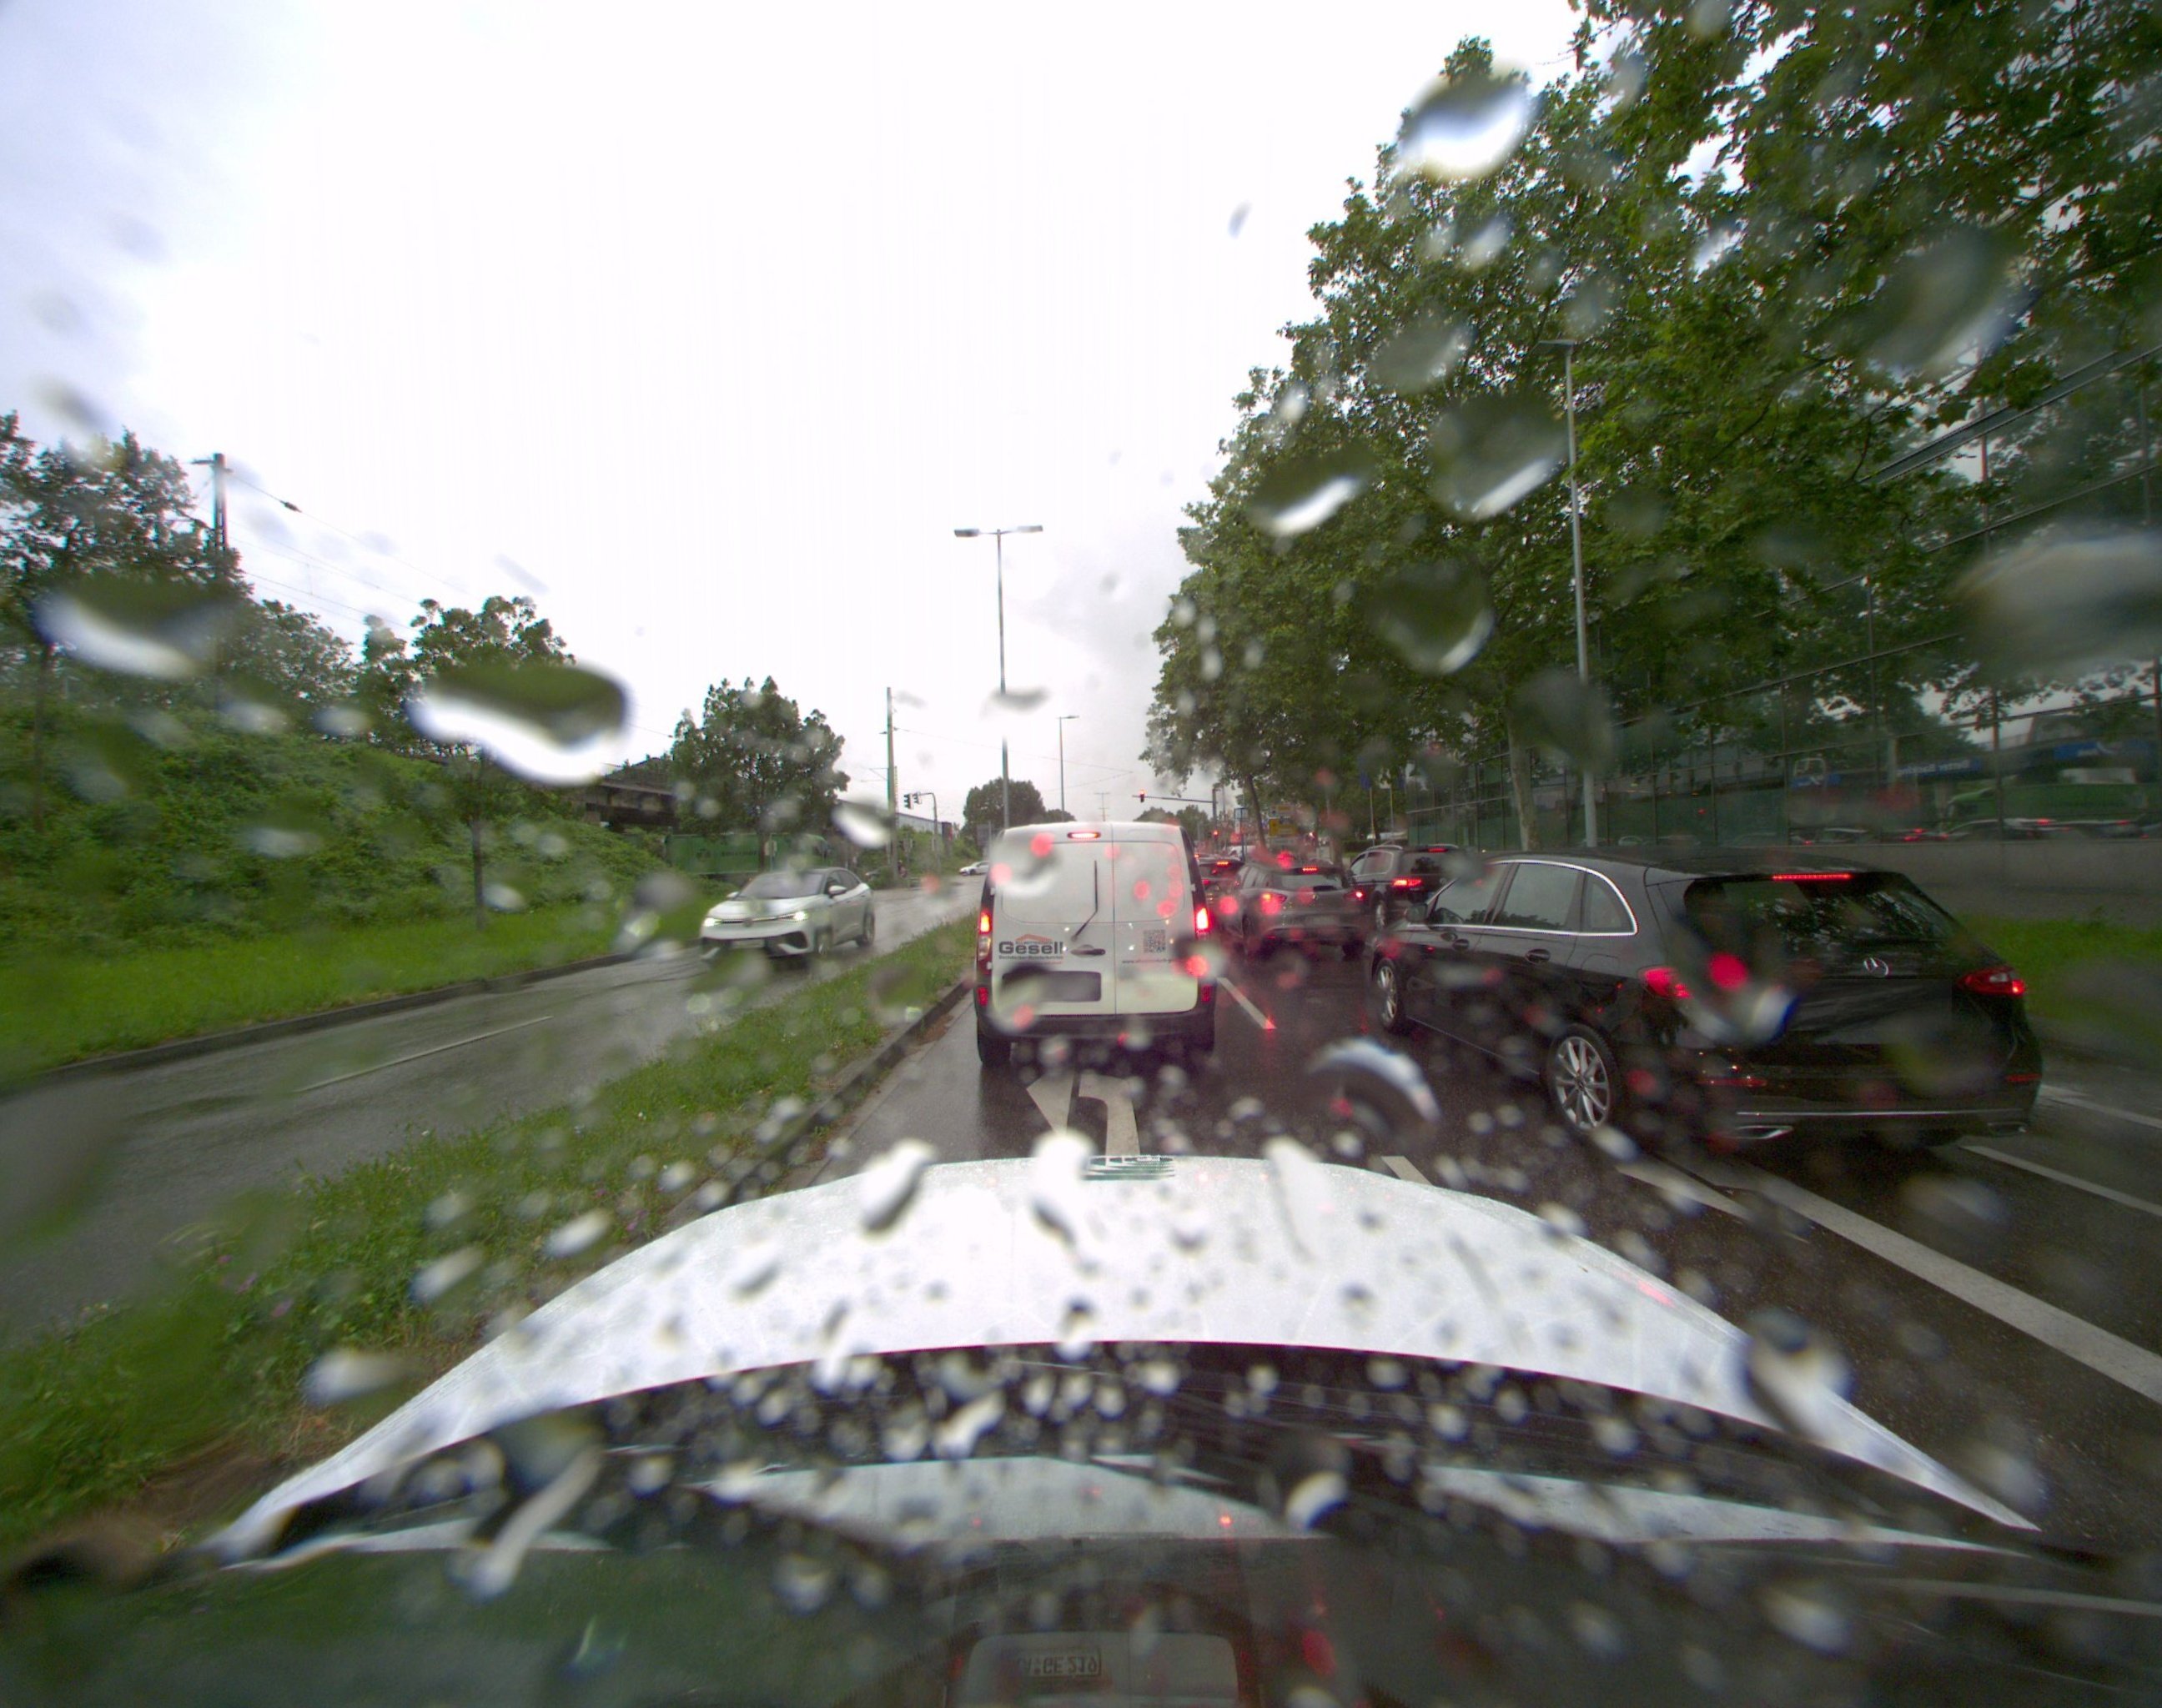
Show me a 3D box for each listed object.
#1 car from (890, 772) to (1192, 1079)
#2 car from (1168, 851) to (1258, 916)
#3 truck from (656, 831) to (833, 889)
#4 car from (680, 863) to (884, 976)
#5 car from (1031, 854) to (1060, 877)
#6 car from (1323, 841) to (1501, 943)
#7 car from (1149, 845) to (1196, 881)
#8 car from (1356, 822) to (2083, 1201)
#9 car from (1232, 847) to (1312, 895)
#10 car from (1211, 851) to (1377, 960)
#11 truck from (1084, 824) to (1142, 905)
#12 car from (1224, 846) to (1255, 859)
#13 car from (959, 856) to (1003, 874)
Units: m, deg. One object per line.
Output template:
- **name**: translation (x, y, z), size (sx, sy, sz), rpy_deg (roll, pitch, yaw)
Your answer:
- **car**: translation (-0.258, 0.477, 7.438), size (1.987, 2.013, 3.999), rpy_deg (-1, 0, 0)
- **car**: translation (3.225, 0.679, 20.615), size (1.705, 1.445, 4.001), rpy_deg (-1, 0, 2)
- **truck**: translation (-21.427, 0.392, 52.372), size (10.184, 3.452, 2.629), rpy_deg (0, -2, -36)
- **car**: translation (-5.075, 1.026, 14.580), size (1.956, 1.525, 4.334), rpy_deg (-3, 1, 0)
- **car**: translation (-2.661, 0.849, 61.781), size (1.819, 1.568, 4.002), rpy_deg (-3, -1, 2)
- **car**: translation (6.344, 0.676, 16.167), size (1.850, 1.726, 4.190), rpy_deg (-1, -1, 0)
- **car**: translation (3.953, 0.370, 35.804), size (1.705, 1.445, 4.001), rpy_deg (-1, 0, 2)
- **car**: translation (3.368, 0.640, 5.425), size (1.703, 1.550, 4.000), rpy_deg (-1, 0, 0)
- **car**: translation (6.523, 0.576, 28.254), size (1.833, 1.537, 4.111), rpy_deg (-1, -1, 1)
- **car**: translation (3.225, 0.701, 13.126), size (1.705, 1.445, 4.001), rpy_deg (-1, 0, 2)
- **truck**: translation (1.001, 0.347, 27.159), size (1.751, 2.466, 3.999), rpy_deg (-1, -1, 0)
- **car**: translation (22.471, -0.189, 115.455), size (3.973, 1.713, 1.773), rpy_deg (-1, -2, 0)
- **car**: translation (-10.120, 1.094, 82.377), size (4.014, 1.585, 1.700), rpy_deg (-2, 0, -32)
